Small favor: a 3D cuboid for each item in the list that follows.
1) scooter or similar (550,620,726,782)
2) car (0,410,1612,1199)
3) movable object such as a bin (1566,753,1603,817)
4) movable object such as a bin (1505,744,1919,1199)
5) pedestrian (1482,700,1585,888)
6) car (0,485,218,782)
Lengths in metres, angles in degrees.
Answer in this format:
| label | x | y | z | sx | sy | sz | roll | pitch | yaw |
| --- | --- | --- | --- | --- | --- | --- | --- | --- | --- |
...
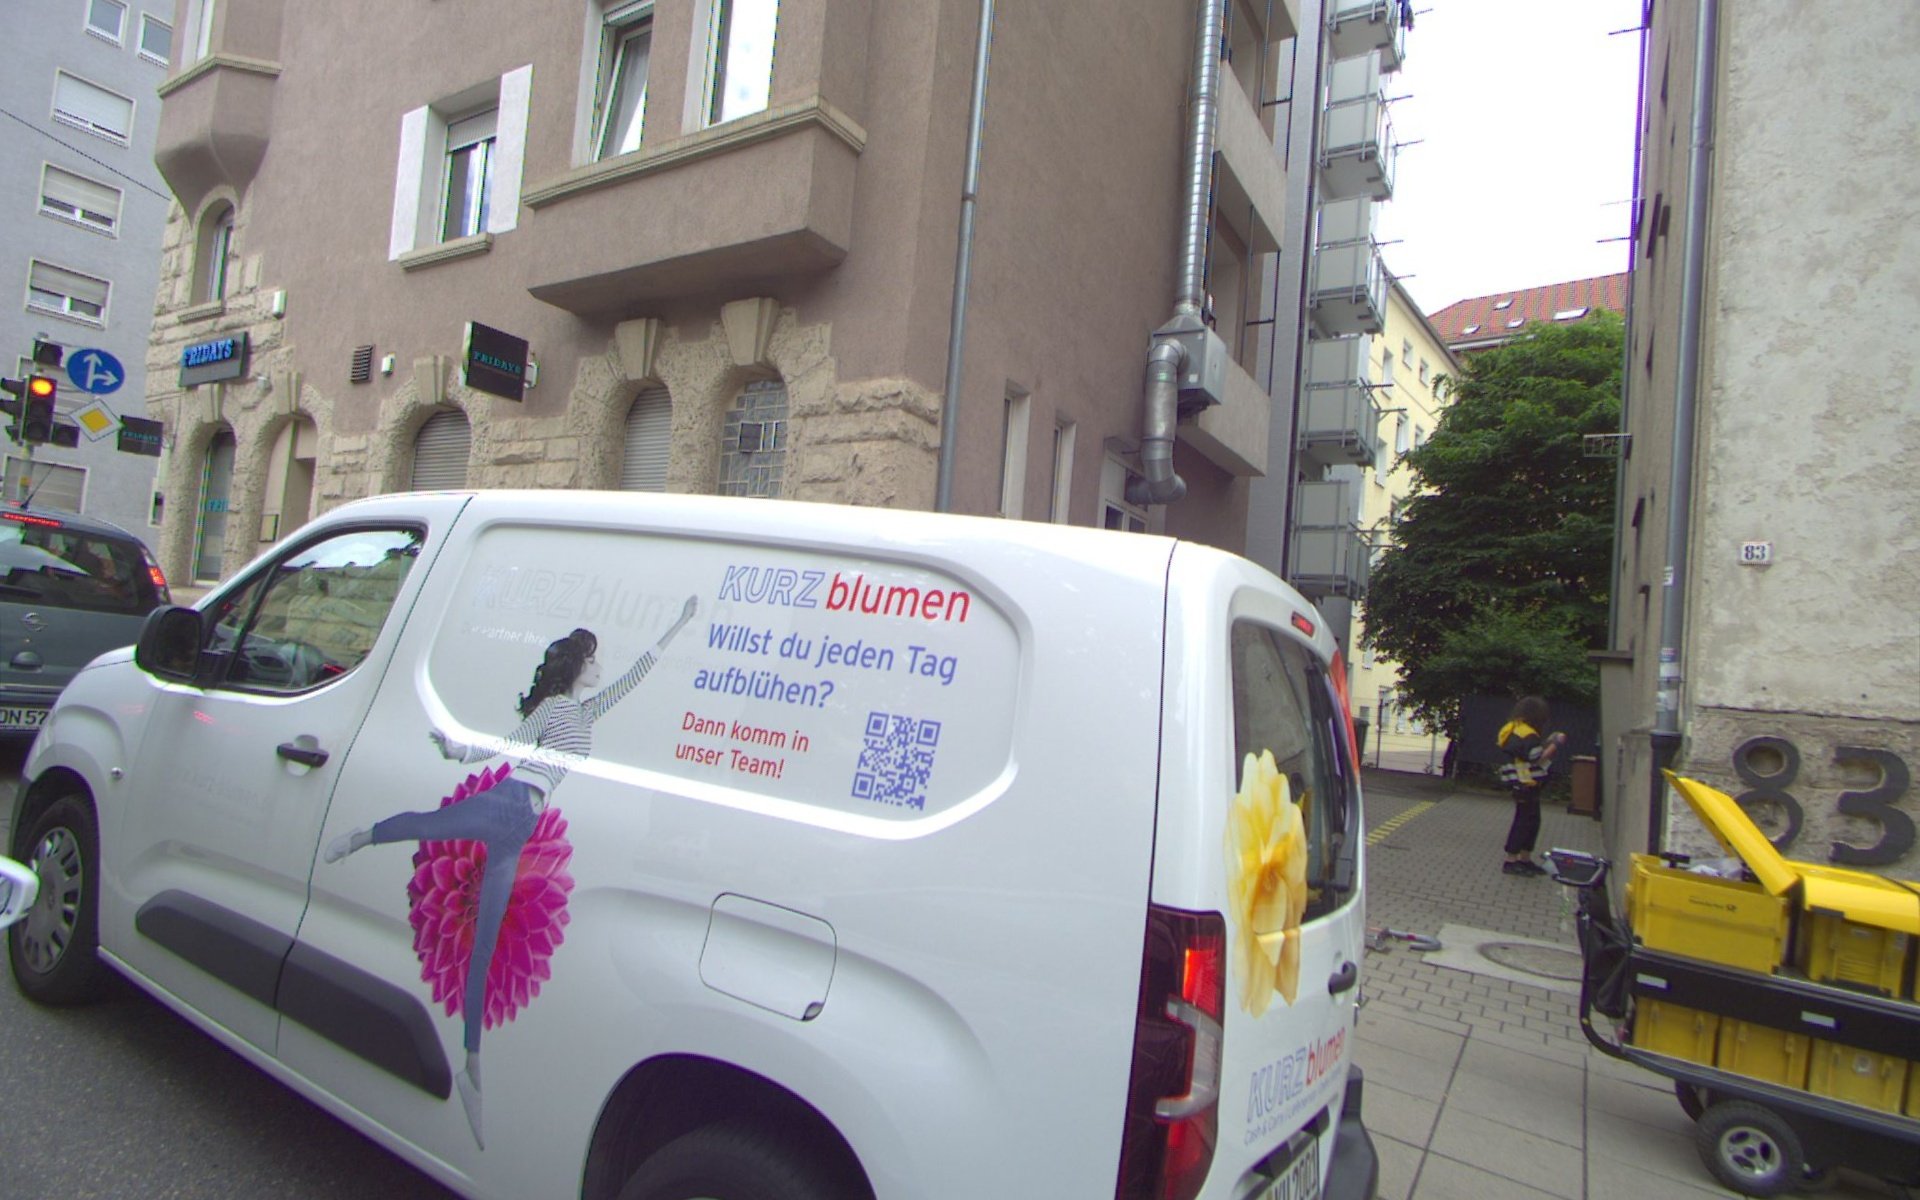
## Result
| label | x | y | z | sx | sy | sz | roll | pitch | yaw |
| --- | --- | --- | --- | --- | --- | --- | --- | --- | --- |
| scooter or similar | -2.685 | 0.811 | 8.345 | 1.400 | 1.117 | 0.527 | 6 | -1 | 34 |
| car | -0.885 | 0.604 | 3.120 | 4.597 | 1.793 | 1.983 | 6 | -5 | 30 |
| movable object such as a bin | 9.920 | 2.938 | 15.991 | 0.405 | 0.922 | 0.340 | 6 | -1 | 32 |
| movable object such as a bin | 3.364 | 1.454 | 3.992 | 1.979 | 1.391 | 1.223 | 6 | 0 | 30 |
| pedestrian | 5.536 | 1.829 | 9.759 | 0.770 | 1.665 | 0.811 | 1 | -3 | 24 |
| car | -6.721 | 0.044 | 6.538 | 3.608 | 1.614 | 1.634 | 6 | -5 | 32 |
